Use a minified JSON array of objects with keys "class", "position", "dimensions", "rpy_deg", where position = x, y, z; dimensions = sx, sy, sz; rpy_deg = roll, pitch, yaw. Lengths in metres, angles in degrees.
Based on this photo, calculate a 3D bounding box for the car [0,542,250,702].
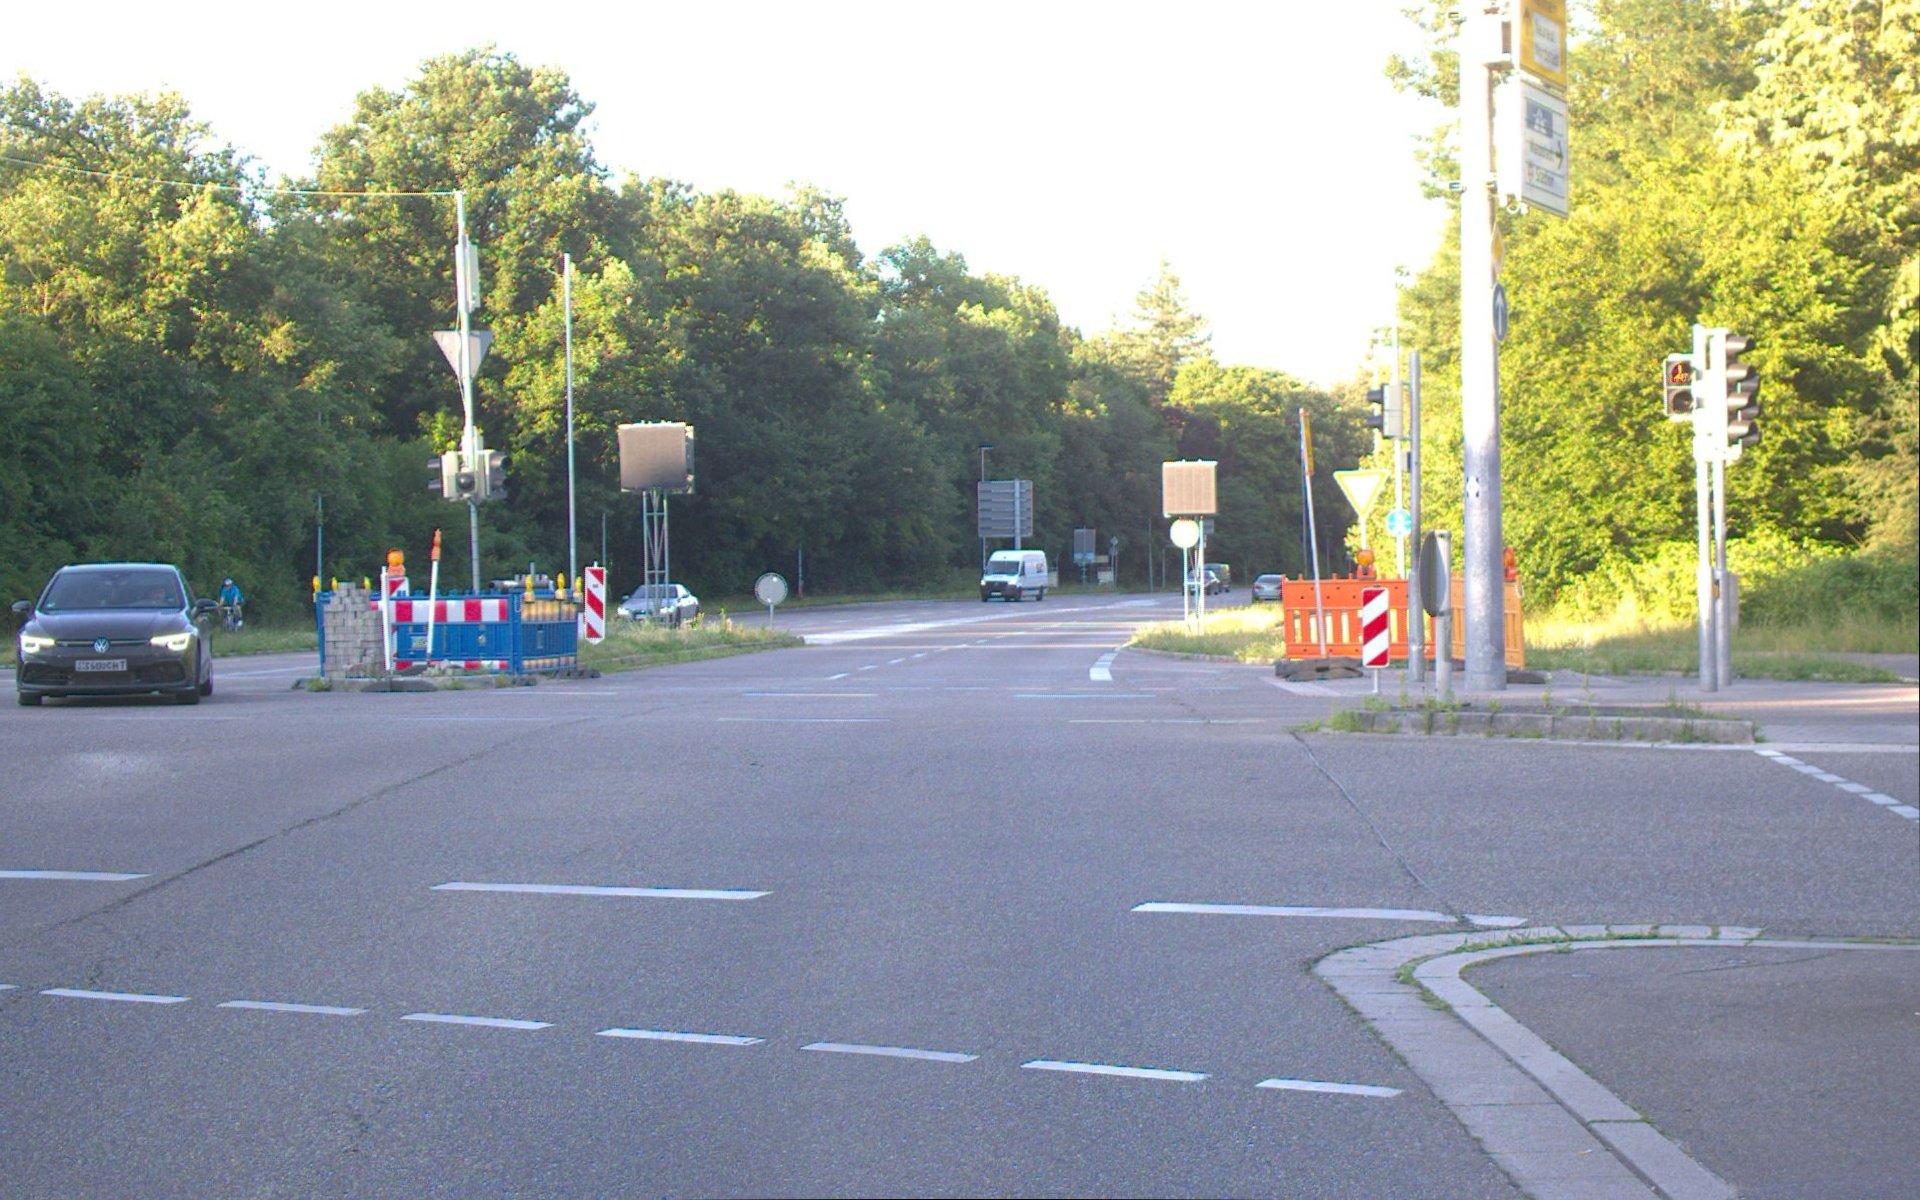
[{"class":"car","position":[-8.641,0.177,35.714],"dimensions":[1.993,1.524,4.679],"rpy_deg":[-1,1,-6]}]

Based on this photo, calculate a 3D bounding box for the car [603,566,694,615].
[{"class":"car","position":[-9.448,-0.304,104.591],"dimensions":[1.994,1.415,3.999],"rpy_deg":[-1,1,6]}]

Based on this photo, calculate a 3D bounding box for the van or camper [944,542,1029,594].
[{"class":"van or camper","position":[1.417,-1.677,178.199],"dimensions":[2.887,2.643,7.118],"rpy_deg":[0,1,13]}]

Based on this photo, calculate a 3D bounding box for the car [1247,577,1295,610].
[{"class":"car","position":[15.895,-0.323,175.701],"dimensions":[1.994,1.612,3.998],"rpy_deg":[0,1,11]}]

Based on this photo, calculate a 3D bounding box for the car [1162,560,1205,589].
[{"class":"car","position":[13.773,-1.565,211.910],"dimensions":[1.994,1.634,3.998],"rpy_deg":[-2,2,13]}]
